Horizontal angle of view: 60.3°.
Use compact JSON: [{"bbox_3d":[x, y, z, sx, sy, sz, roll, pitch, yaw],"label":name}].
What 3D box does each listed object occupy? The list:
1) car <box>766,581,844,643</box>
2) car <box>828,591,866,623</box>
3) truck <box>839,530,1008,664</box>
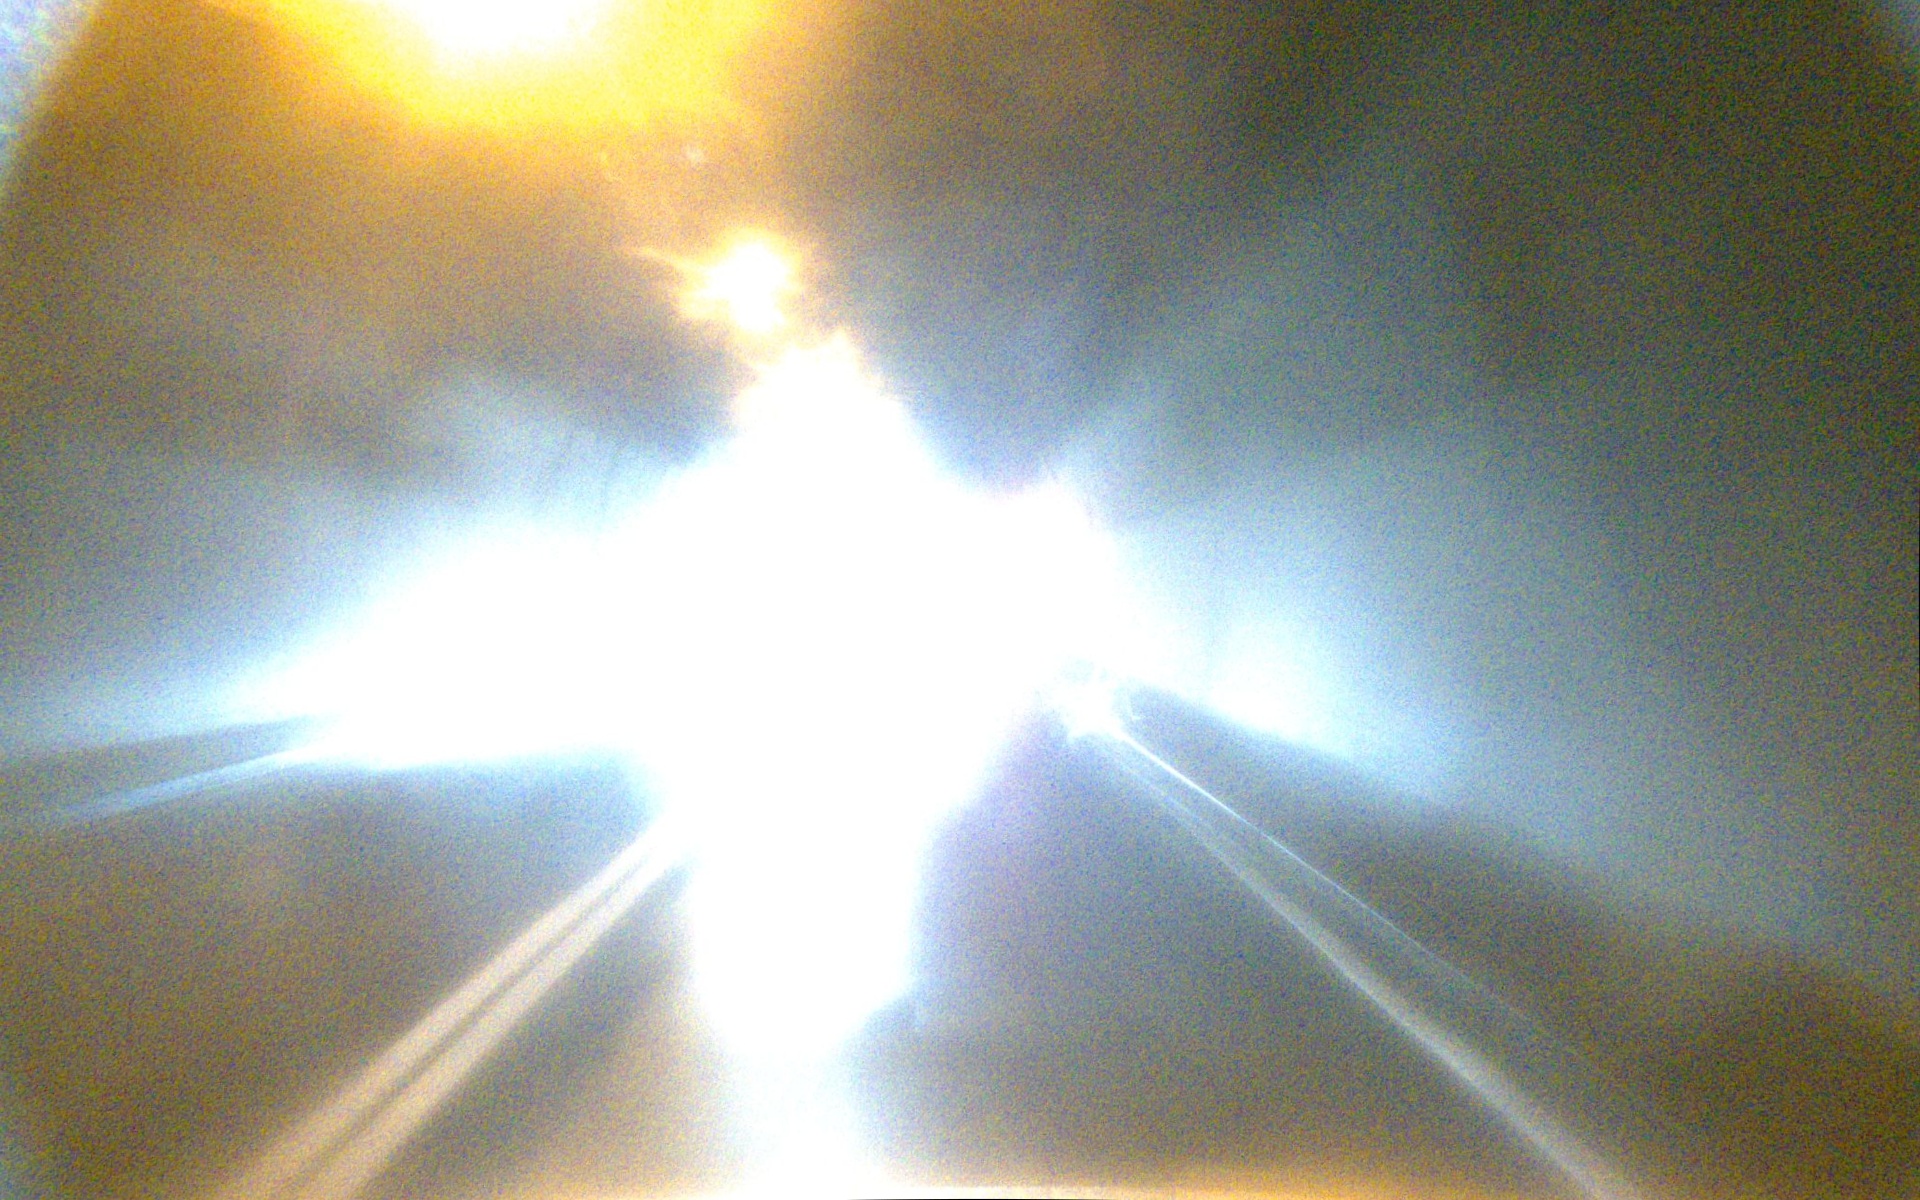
[{"bbox_3d":[-3.898,0.272,42.010,1.758,1.508,3.867,0,0,-2],"label":"car"},{"bbox_3d":[-5.796,0.370,85.205,1.721,1.555,3.814,2,0,-1],"label":"car"},{"bbox_3d":[-0.822,-0.080,38.498,3.463,2.740,8.954,0,0,-1],"label":"truck"}]
